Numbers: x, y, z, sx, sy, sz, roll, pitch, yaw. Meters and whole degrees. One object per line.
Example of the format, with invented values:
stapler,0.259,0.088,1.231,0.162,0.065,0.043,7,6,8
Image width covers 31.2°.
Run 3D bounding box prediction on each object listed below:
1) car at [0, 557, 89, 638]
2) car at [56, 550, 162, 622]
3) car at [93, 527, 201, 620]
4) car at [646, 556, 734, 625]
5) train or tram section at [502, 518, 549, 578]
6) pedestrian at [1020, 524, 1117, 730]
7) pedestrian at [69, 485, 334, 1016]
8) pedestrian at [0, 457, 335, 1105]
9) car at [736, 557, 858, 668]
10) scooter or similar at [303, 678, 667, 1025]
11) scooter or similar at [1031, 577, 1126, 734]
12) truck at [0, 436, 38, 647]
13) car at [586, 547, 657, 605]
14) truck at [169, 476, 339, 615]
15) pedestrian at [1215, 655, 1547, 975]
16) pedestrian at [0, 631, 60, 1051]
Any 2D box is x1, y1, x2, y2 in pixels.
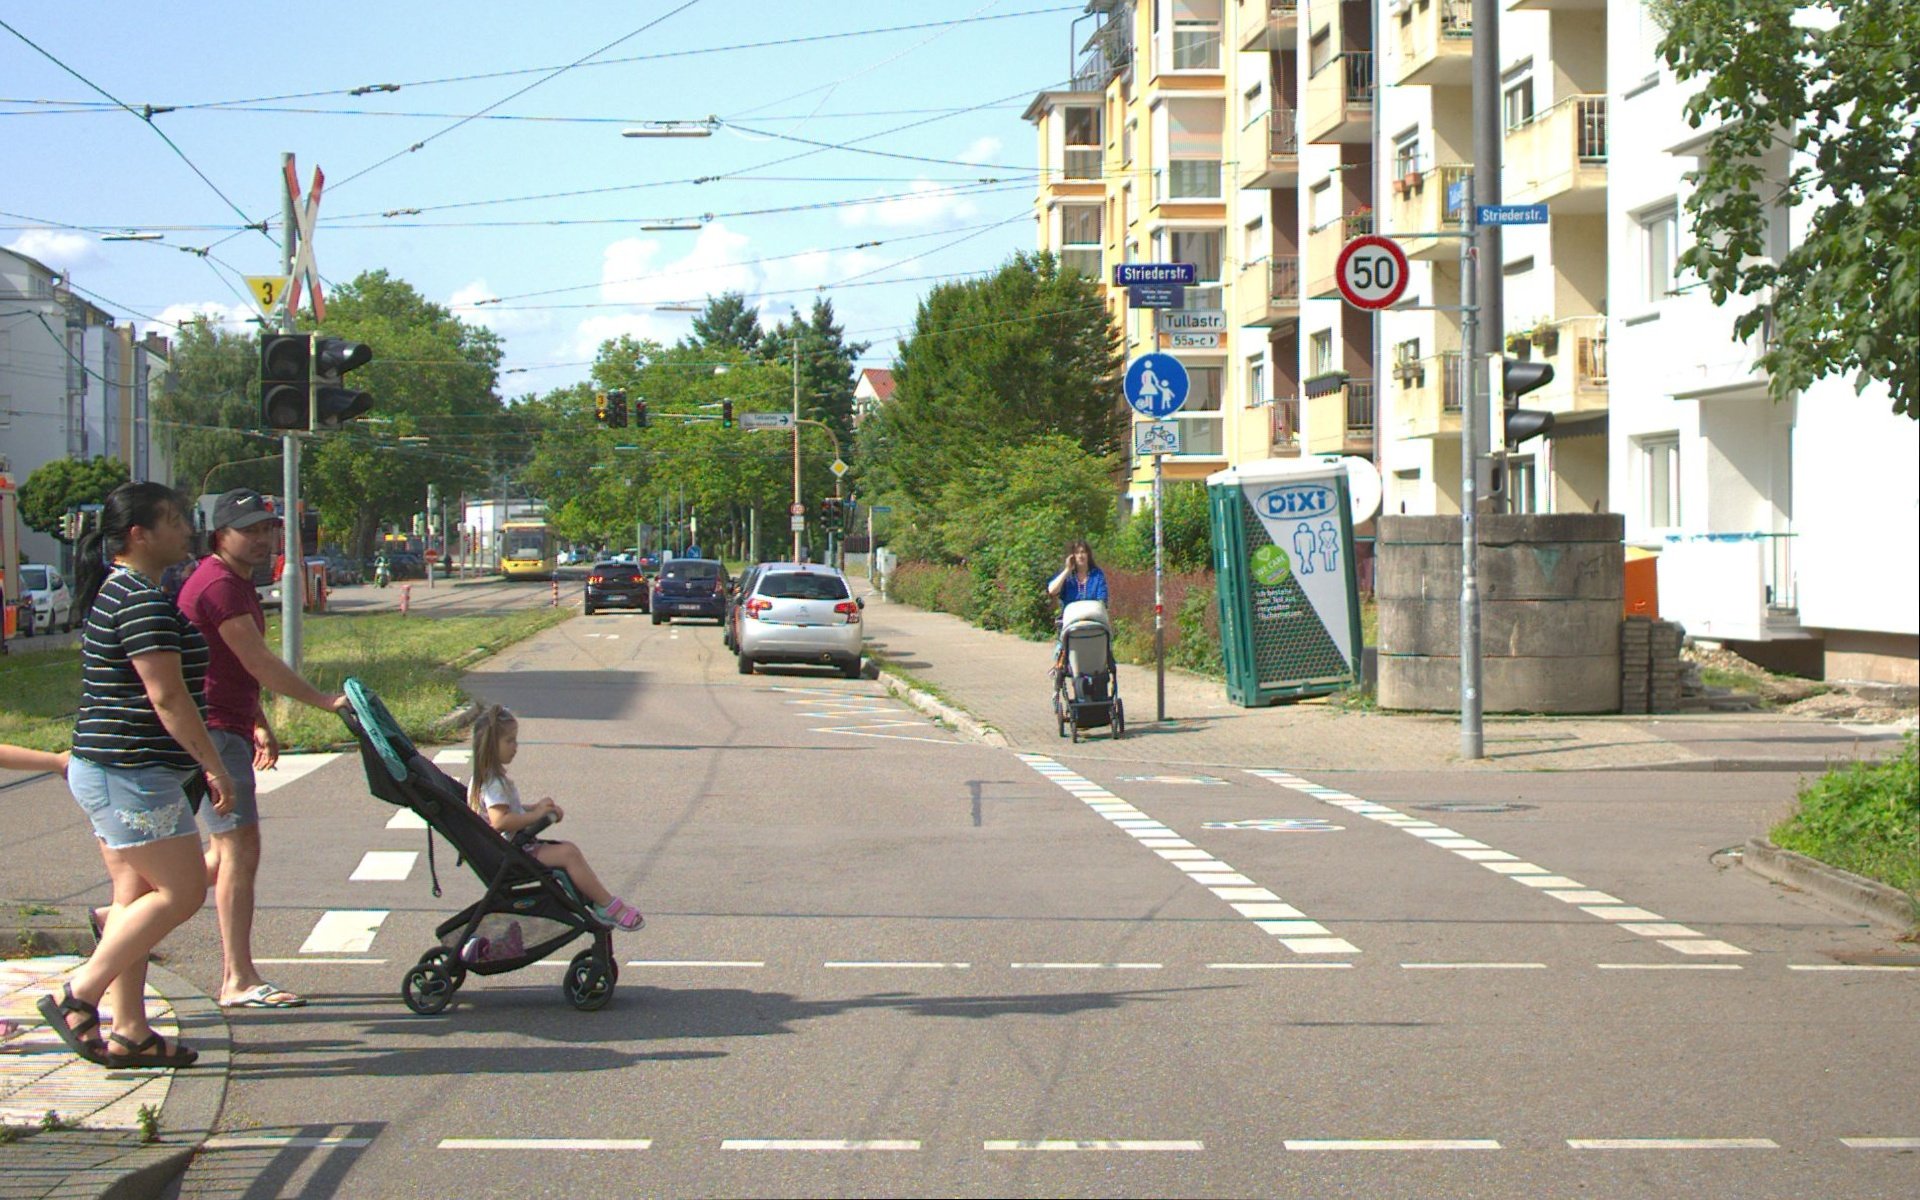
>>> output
car,-20.467,-0.077,75.334,1.993,1.705,4.001,1,0,-4
car,-21.064,-0.348,85.213,1.909,1.705,4.001,1,0,-5
car,-21.578,-0.715,91.412,1.967,2.362,5.202,1,0,-4
car,-6.154,-0.222,78.734,1.744,1.502,4.000,1,0,-1
train or tram section,-22.632,-2.721,179.337,2.258,3.058,8.135,-1,1,-6
pedestrian,0.970,0.228,30.823,0.701,1.783,1.030,-3,1,-2
pedestrian,-2.433,0.471,11.083,0.705,1.642,0.637,2,0,-5
pedestrian,-2.267,0.458,9.369,0.845,1.662,0.799,-1,0,-33
car,-2.291,0.157,48.272,1.622,1.460,3.511,1,0,-3
scooter or similar,-1.518,0.799,11.117,1.100,1.052,0.650,1,0,-3
scooter or similar,1.026,0.473,29.930,0.662,1.299,0.868,-4,1,-4
truck,-15.656,-0.891,49.983,2.596,3.175,8.383,1,0,-3
car,-9.137,-0.658,93.100,1.743,1.502,4.001,1,0,-4
truck,-18.829,-1.413,92.319,2.666,3.459,10.169,1,0,-2
pedestrian,2.967,1.471,25.009,1.993,2.007,4.000,1,0,2
pedestrian,-3.029,0.687,10.002,0.636,1.176,0.799,-1,0,-26
